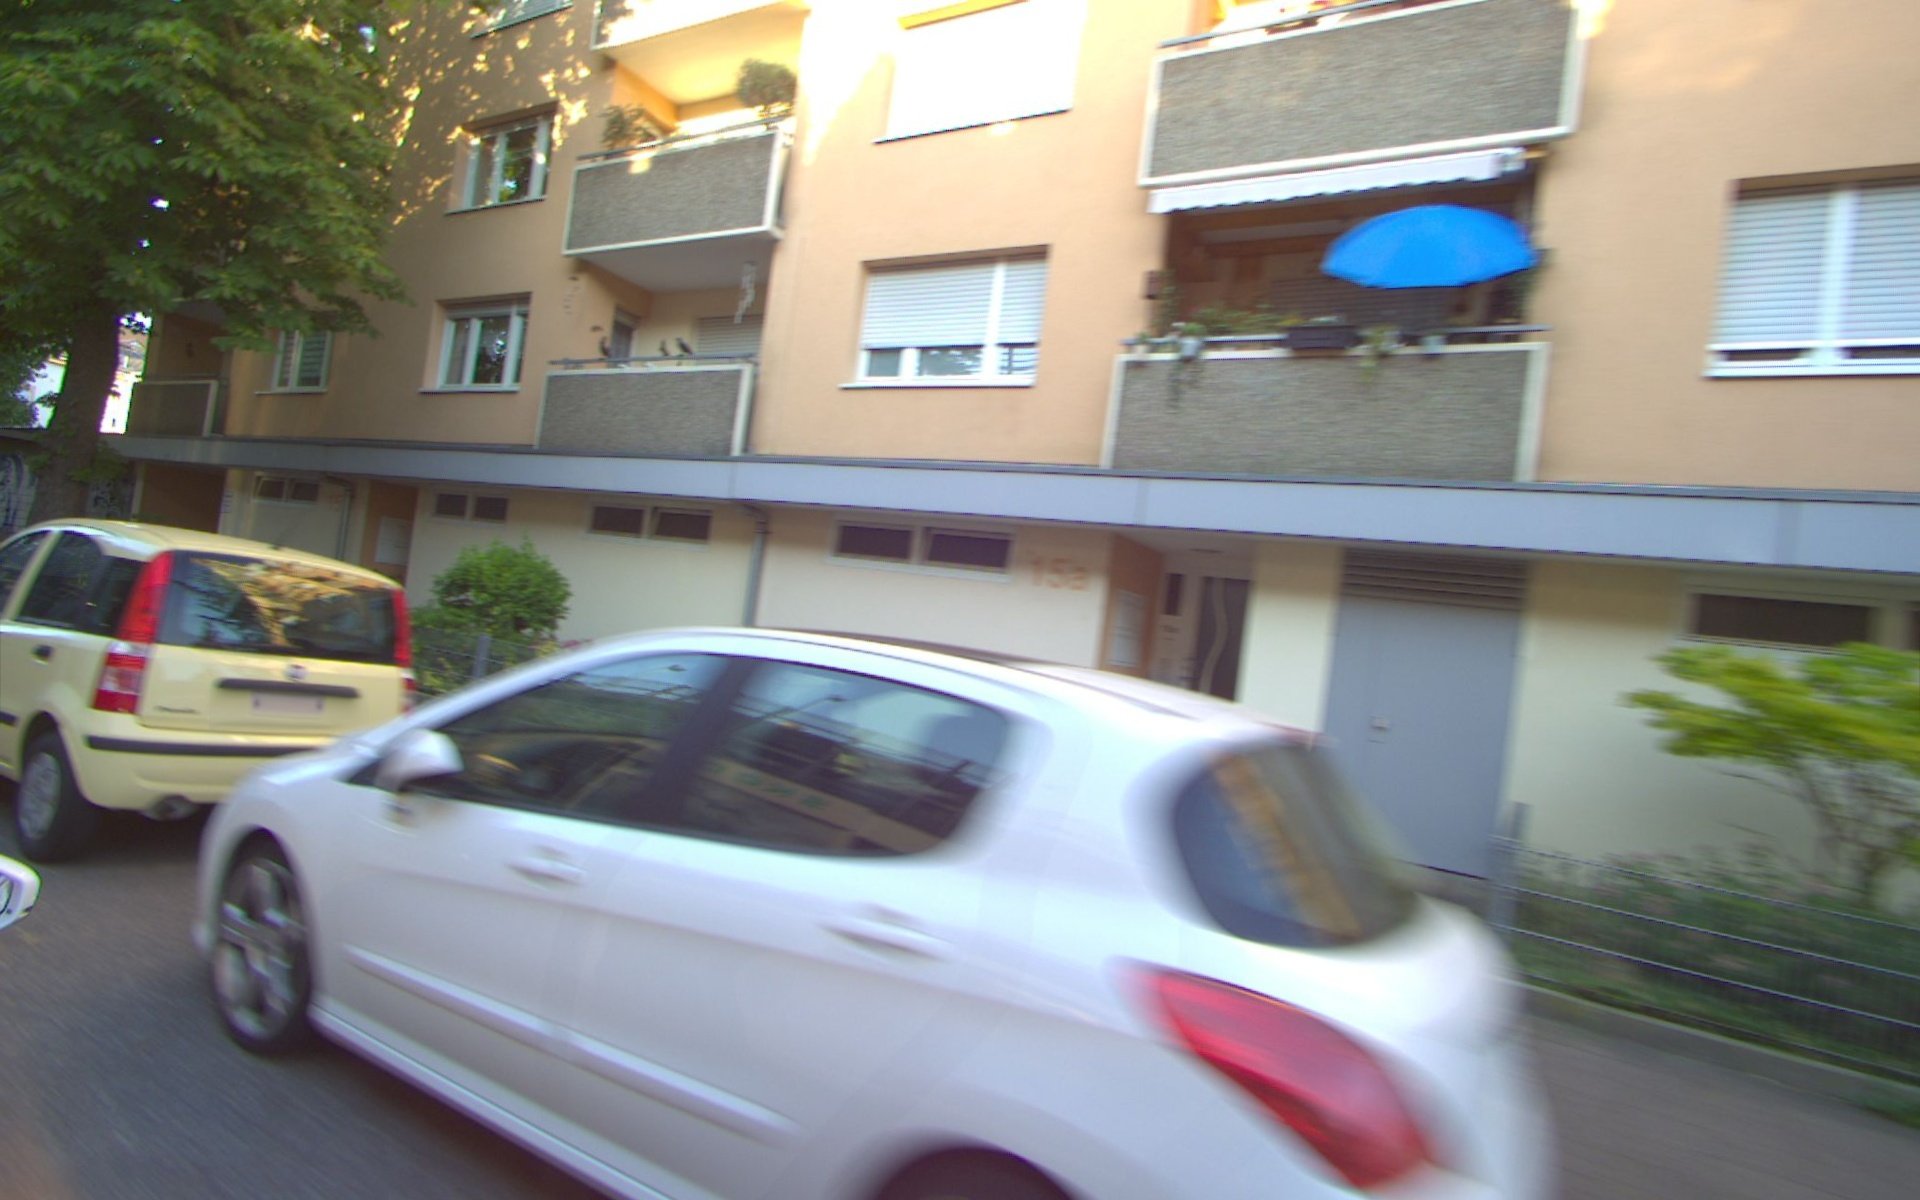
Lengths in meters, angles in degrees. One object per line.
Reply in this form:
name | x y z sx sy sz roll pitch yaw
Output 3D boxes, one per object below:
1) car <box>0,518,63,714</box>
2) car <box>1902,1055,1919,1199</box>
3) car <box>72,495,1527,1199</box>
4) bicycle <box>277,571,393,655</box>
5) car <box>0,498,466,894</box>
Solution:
car | -8.938 -0.129 7.977 3.934 1.398 1.609 7 -2 33
car | 3.391 1.307 0.494 3.986 1.478 1.613 7 -2 31
car | -0.699 0.734 3.122 4.123 1.581 1.796 7 -2 31
bicycle | -8.873 0.174 14.266 1.804 0.932 0.524 8 -1 31
car | -4.600 0.309 5.560 3.419 1.528 1.613 7 -2 31
